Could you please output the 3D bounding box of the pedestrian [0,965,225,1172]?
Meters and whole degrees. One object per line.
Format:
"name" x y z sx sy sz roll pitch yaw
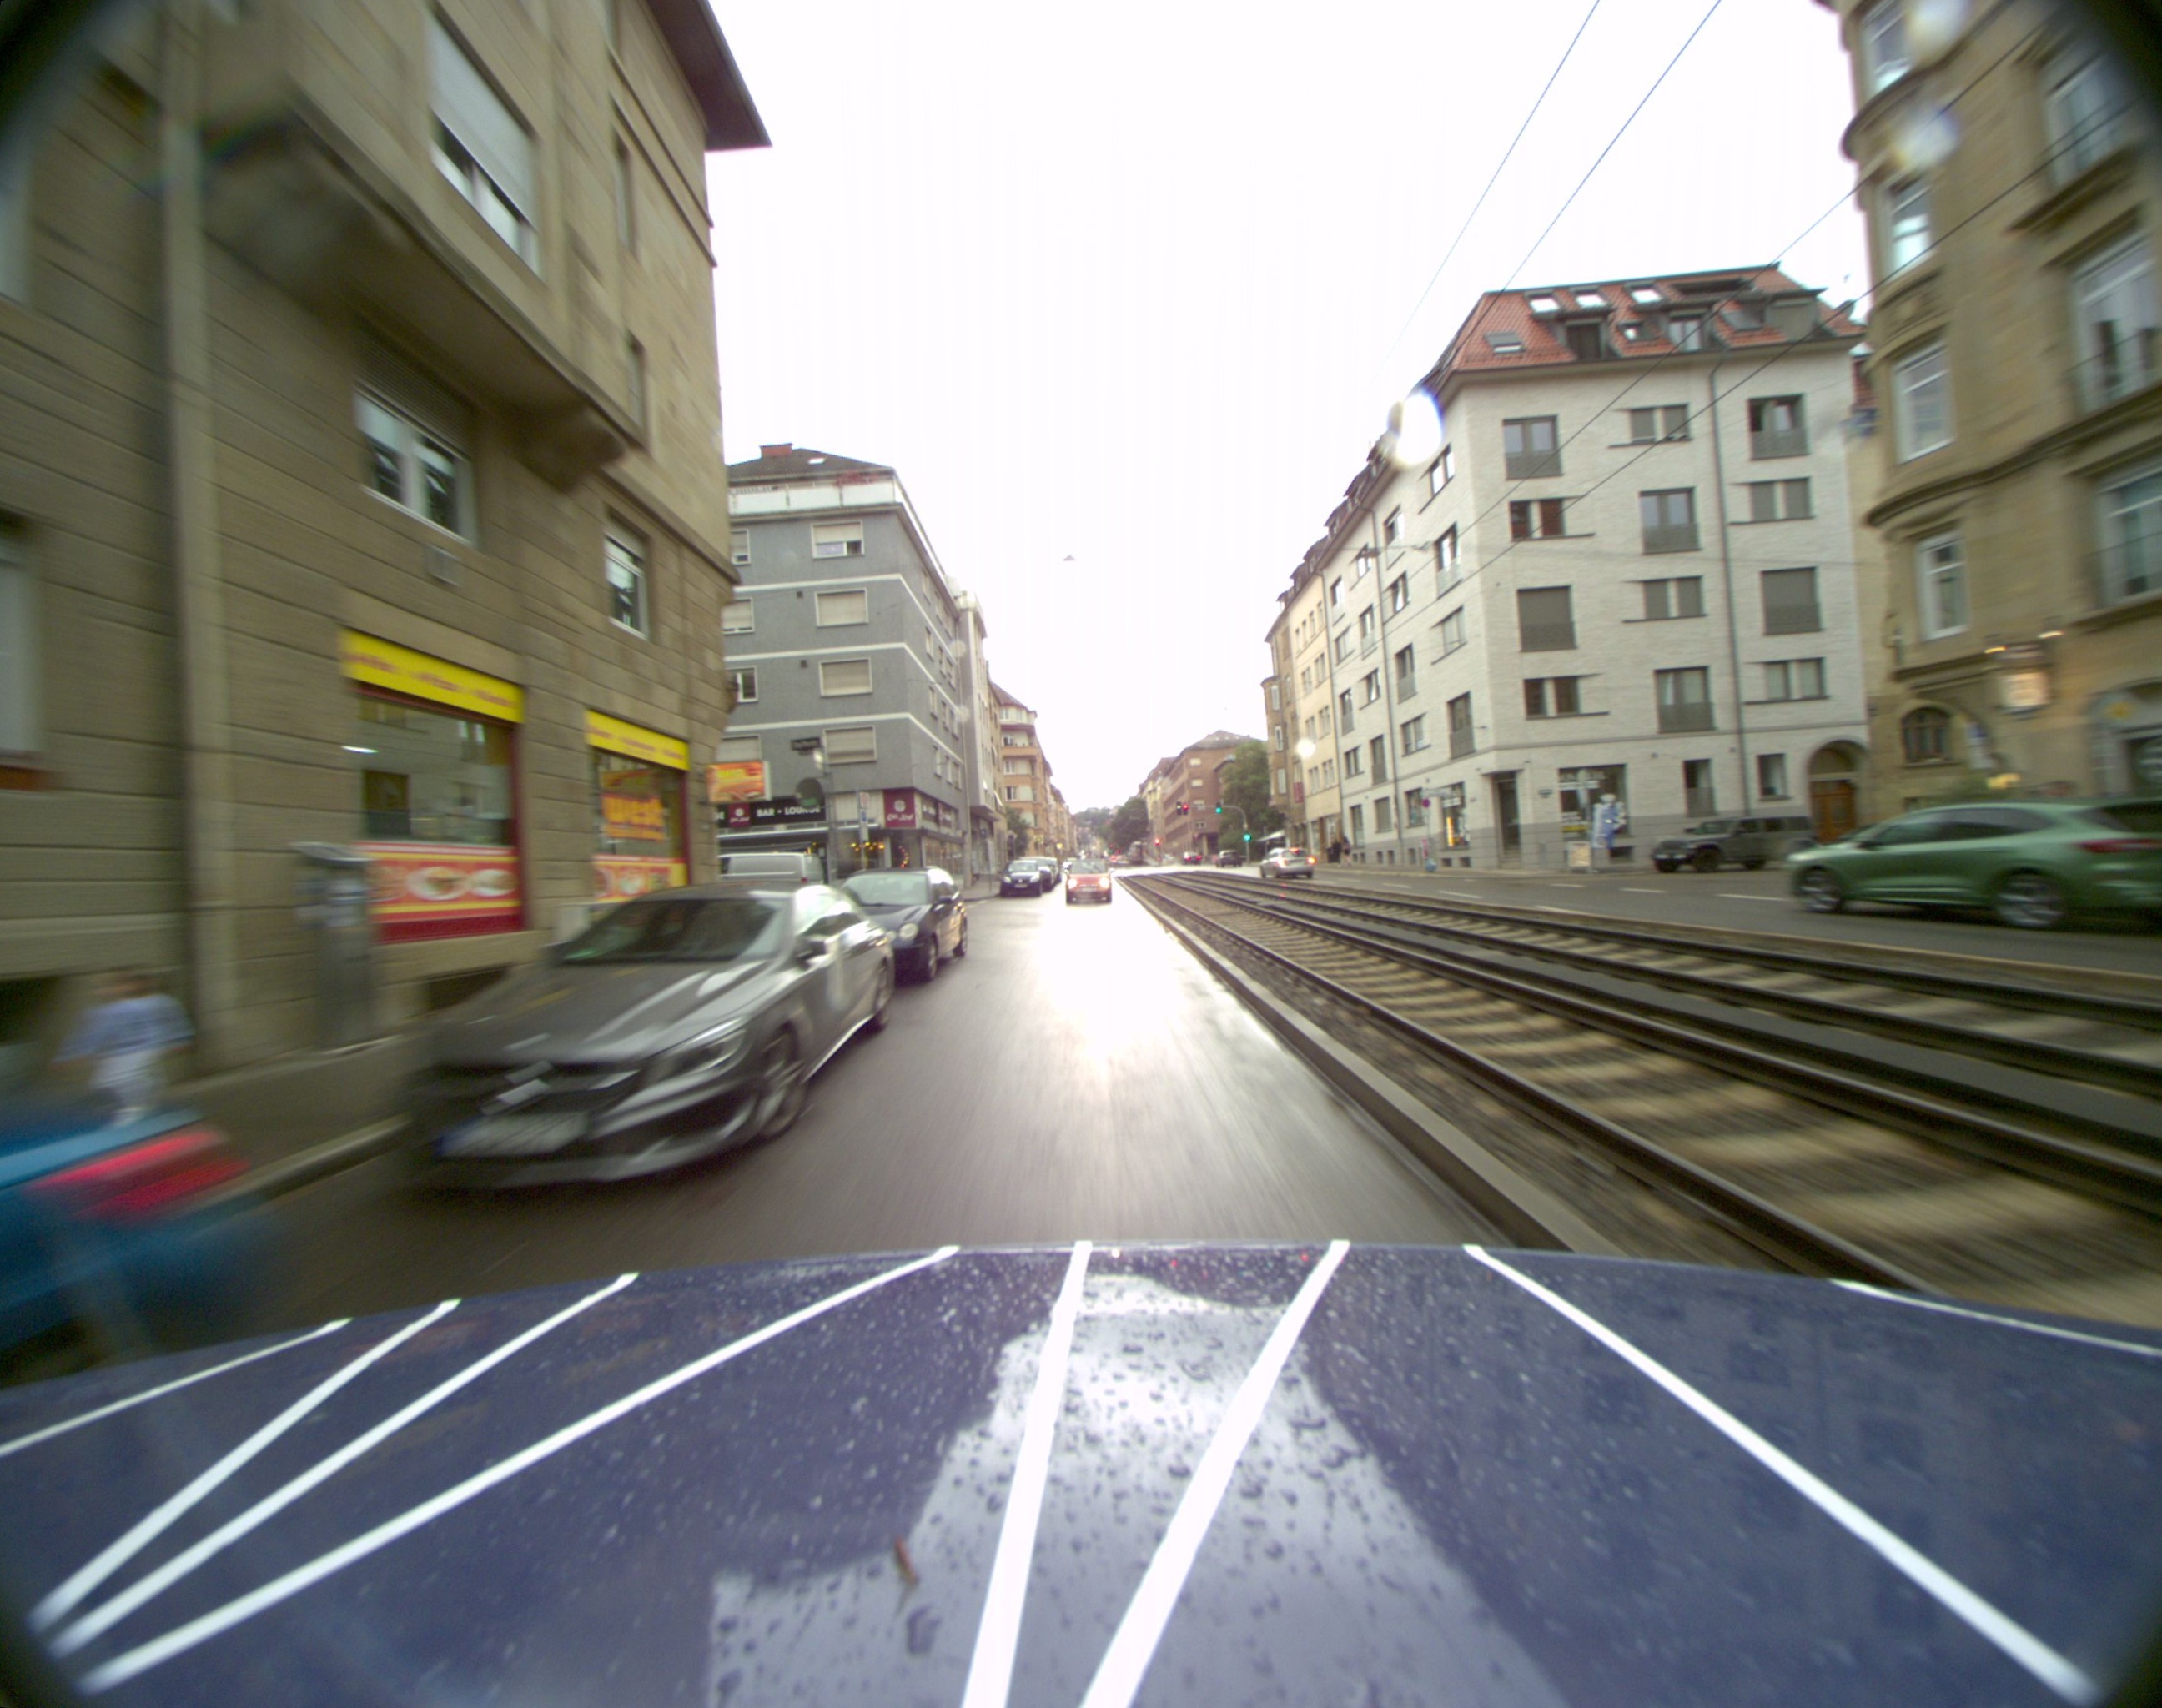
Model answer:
"pedestrian" -5.758 1.239 4.543 0.512 1.044 0.627 -3 0 1

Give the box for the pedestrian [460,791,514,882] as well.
"pedestrian" -13.398 -0.380 17.154 0.627 2.001 0.757 -1 -2 2

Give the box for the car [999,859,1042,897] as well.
"car" -2.543 0.975 32.597 1.696 1.474 3.928 -1 0 -3

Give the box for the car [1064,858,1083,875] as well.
"car" -0.956 1.507 95.758 2.135 2.002 4.328 -3 0 1

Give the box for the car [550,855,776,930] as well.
"car" -10.777 0.958 19.877 4.790 1.851 2.000 0 0 0

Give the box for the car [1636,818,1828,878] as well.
"car" 21.720 -0.191 25.483 4.704 1.718 2.034 -3 0 -2

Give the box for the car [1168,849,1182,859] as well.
"car" 14.405 0.005 116.808 1.717 1.452 4.643 -3 0 2

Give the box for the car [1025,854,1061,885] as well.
"car" -2.111 0.862 43.227 1.822 1.645 4.250 -1 0 1

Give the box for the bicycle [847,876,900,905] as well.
"bicycle" -7.516 1.316 27.560 1.753 0.967 0.533 -3 1 2

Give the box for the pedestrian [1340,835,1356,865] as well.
"pedestrian" 15.757 -0.213 44.794 0.603 1.708 0.658 -5 0 4

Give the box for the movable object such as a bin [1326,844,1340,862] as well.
"movable object such as a bin" 16.472 -0.046 49.690 0.631 1.074 0.563 -7 0 1

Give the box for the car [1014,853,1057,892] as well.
"car" -2.181 0.852 37.659 1.797 1.750 4.566 -3 0 0

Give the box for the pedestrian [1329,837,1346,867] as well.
"pedestrian" 15.133 -0.137 44.835 0.603 1.708 0.746 -5 0 4

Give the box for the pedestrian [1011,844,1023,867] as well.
"pedestrian" -5.174 0.098 61.197 0.852 1.807 0.847 -1 1 1

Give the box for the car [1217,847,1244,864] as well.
"car" 12.922 0.156 65.652 1.708 1.379 3.782 -2 0 3

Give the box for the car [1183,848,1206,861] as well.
"car" 13.403 0.046 89.994 2.093 1.449 4.860 -2 0 3

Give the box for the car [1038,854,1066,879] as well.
"car" -1.956 0.817 52.146 1.715 1.604 4.519 -1 0 1

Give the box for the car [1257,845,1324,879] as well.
"car" 9.926 0.371 36.402 1.986 1.448 4.294 -2 0 0

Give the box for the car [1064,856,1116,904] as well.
"car" 0.322 0.875 27.545 1.683 1.531 4.018 -2 0 1

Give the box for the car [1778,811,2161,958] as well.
"car" 12.504 0.309 10.468 1.863 1.592 4.430 -2 0 3

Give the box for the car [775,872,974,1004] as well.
"car" -2.678 1.025 10.754 1.675 1.435 3.790 -1 0 1

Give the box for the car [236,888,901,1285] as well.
"car" -2.607 1.044 5.350 1.759 1.379 4.484 -1 0 -2
